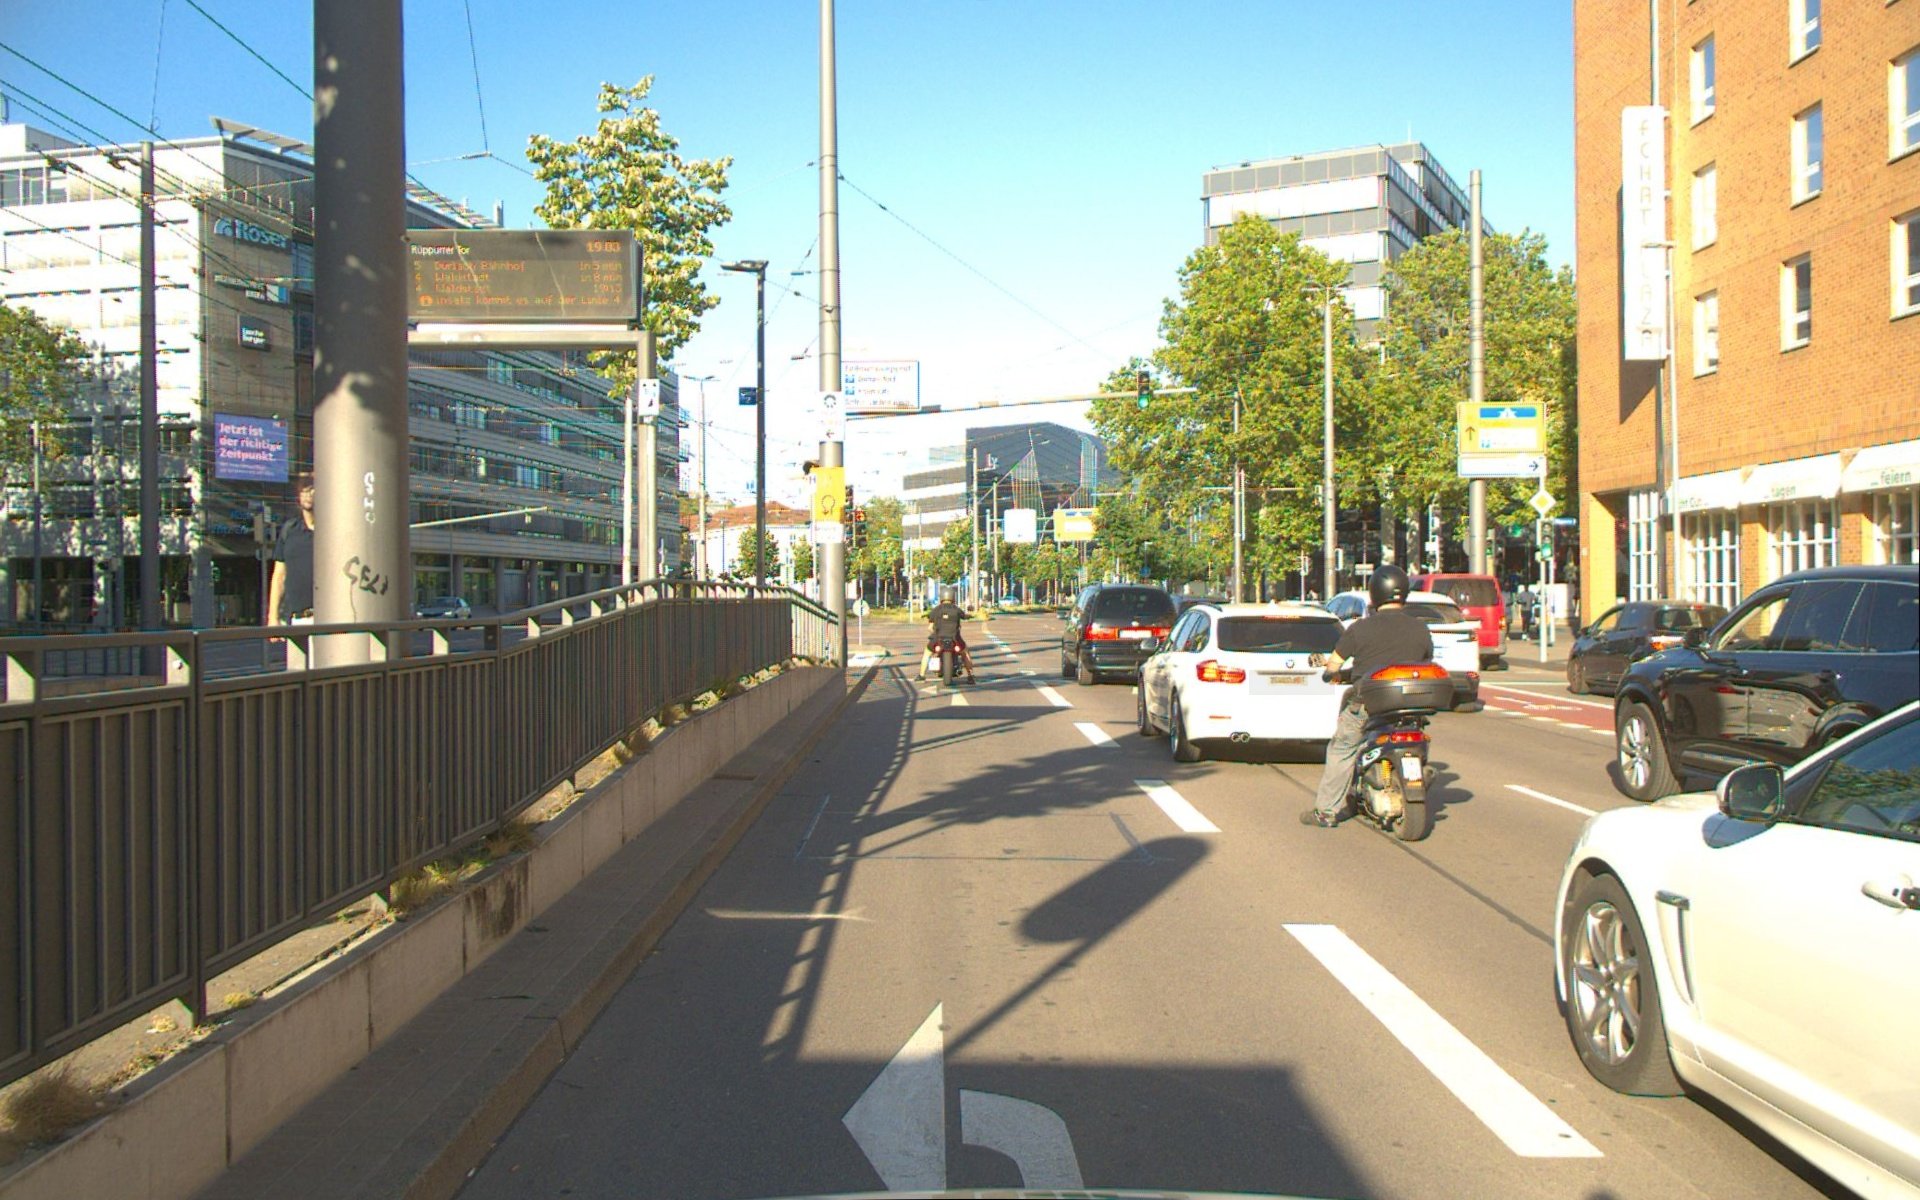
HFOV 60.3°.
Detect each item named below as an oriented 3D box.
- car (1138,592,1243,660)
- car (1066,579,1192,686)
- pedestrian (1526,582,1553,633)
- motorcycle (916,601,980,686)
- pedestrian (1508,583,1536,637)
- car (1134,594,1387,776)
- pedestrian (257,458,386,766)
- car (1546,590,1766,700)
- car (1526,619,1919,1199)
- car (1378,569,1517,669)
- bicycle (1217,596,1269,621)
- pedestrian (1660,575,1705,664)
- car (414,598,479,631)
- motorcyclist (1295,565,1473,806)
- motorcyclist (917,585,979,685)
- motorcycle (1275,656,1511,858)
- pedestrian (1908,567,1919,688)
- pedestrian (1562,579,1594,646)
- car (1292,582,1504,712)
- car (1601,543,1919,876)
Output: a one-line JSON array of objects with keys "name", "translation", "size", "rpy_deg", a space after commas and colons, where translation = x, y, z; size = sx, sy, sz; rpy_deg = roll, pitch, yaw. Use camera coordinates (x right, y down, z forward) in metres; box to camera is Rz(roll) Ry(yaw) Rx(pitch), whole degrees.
[{"name": "car", "translation": [5.386, 0.566, 39.122], "size": [1.813, 1.524, 4.378], "rpy_deg": [0, 0, -1]}, {"name": "car", "translation": [2.866, 0.519, 28.818], "size": [1.761, 1.735, 4.062], "rpy_deg": [0, 0, 0]}, {"name": "pedestrian", "translation": [19.444, 0.249, 55.513], "size": [0.683, 1.690, 0.519], "rpy_deg": [1, 0, -1]}, {"name": "motorcycle", "translation": [-0.195, 0.699, 27.855], "size": [0.998, 1.335, 2.914], "rpy_deg": [1, 0, 0]}, {"name": "pedestrian", "translation": [17.620, 0.312, 51.889], "size": [0.670, 1.690, 0.519], "rpy_deg": [1, 0, -1]}, {"name": "car", "translation": [2.813, 0.726, 16.400], "size": [1.658, 1.523, 4.408], "rpy_deg": [1, 0, 0]}, {"name": "pedestrian", "translation": [-3.621, 0.065, 9.411], "size": [0.509, 1.698, 0.550], "rpy_deg": [0, 0, 0]}, {"name": "car", "translation": [10.653, 0.641, 25.627], "size": [1.633, 1.557, 3.999], "rpy_deg": [-1, 0, -1]}, {"name": "car", "translation": [2.957, 0.811, 3.575], "size": [1.744, 1.439, 4.818], "rpy_deg": [1, 0, -1]}, {"name": "car", "translation": [10.365, 0.388, 35.417], "size": [1.822, 1.995, 4.000], "rpy_deg": [-1, 0, 1]}, {"name": "bicycle", "translation": [14.997, 0.451, 87.615], "size": [2.635, 1.266, 0.528], "rpy_deg": [-1, 0, 23]}, {"name": "pedestrian", "translation": [15.364, 0.408, 35.165], "size": [0.594, 1.853, 0.748], "rpy_deg": [-1, -1, -1]}, {"name": "car", "translation": [-24.827, 0.683, 80.033], "size": [1.953, 1.489, 3.999], "rpy_deg": [0, 0, -1]}, {"name": "motorcyclist", "translation": [2.778, 0.533, 10.973], "size": [0.820, 1.501, 1.236], "rpy_deg": [-1, 0, -2]}, {"name": "motorcyclist", "translation": [-0.199, 0.582, 27.956], "size": [0.998, 1.631, 1.148], "rpy_deg": [1, 0, 0]}, {"name": "motorcycle", "translation": [2.792, 0.967, 11.008], "size": [0.820, 1.081, 2.551], "rpy_deg": [-1, 0, -2]}, {"name": "pedestrian", "translation": [14.964, 0.413, 25.194], "size": [0.594, 1.853, 0.748], "rpy_deg": [-1, -1, -1]}, {"name": "pedestrian", "translation": [17.455, 0.348, 46.743], "size": [0.594, 1.853, 0.748], "rpy_deg": [-1, -1, -1]}, {"name": "car", "translation": [6.099, 0.598, 23.537], "size": [1.813, 1.668, 4.378], "rpy_deg": [0, 0, -1]}, {"name": "car", "translation": [6.129, 0.606, 10.961], "size": [1.934, 1.790, 4.632], "rpy_deg": [1, 0, 0]}]
